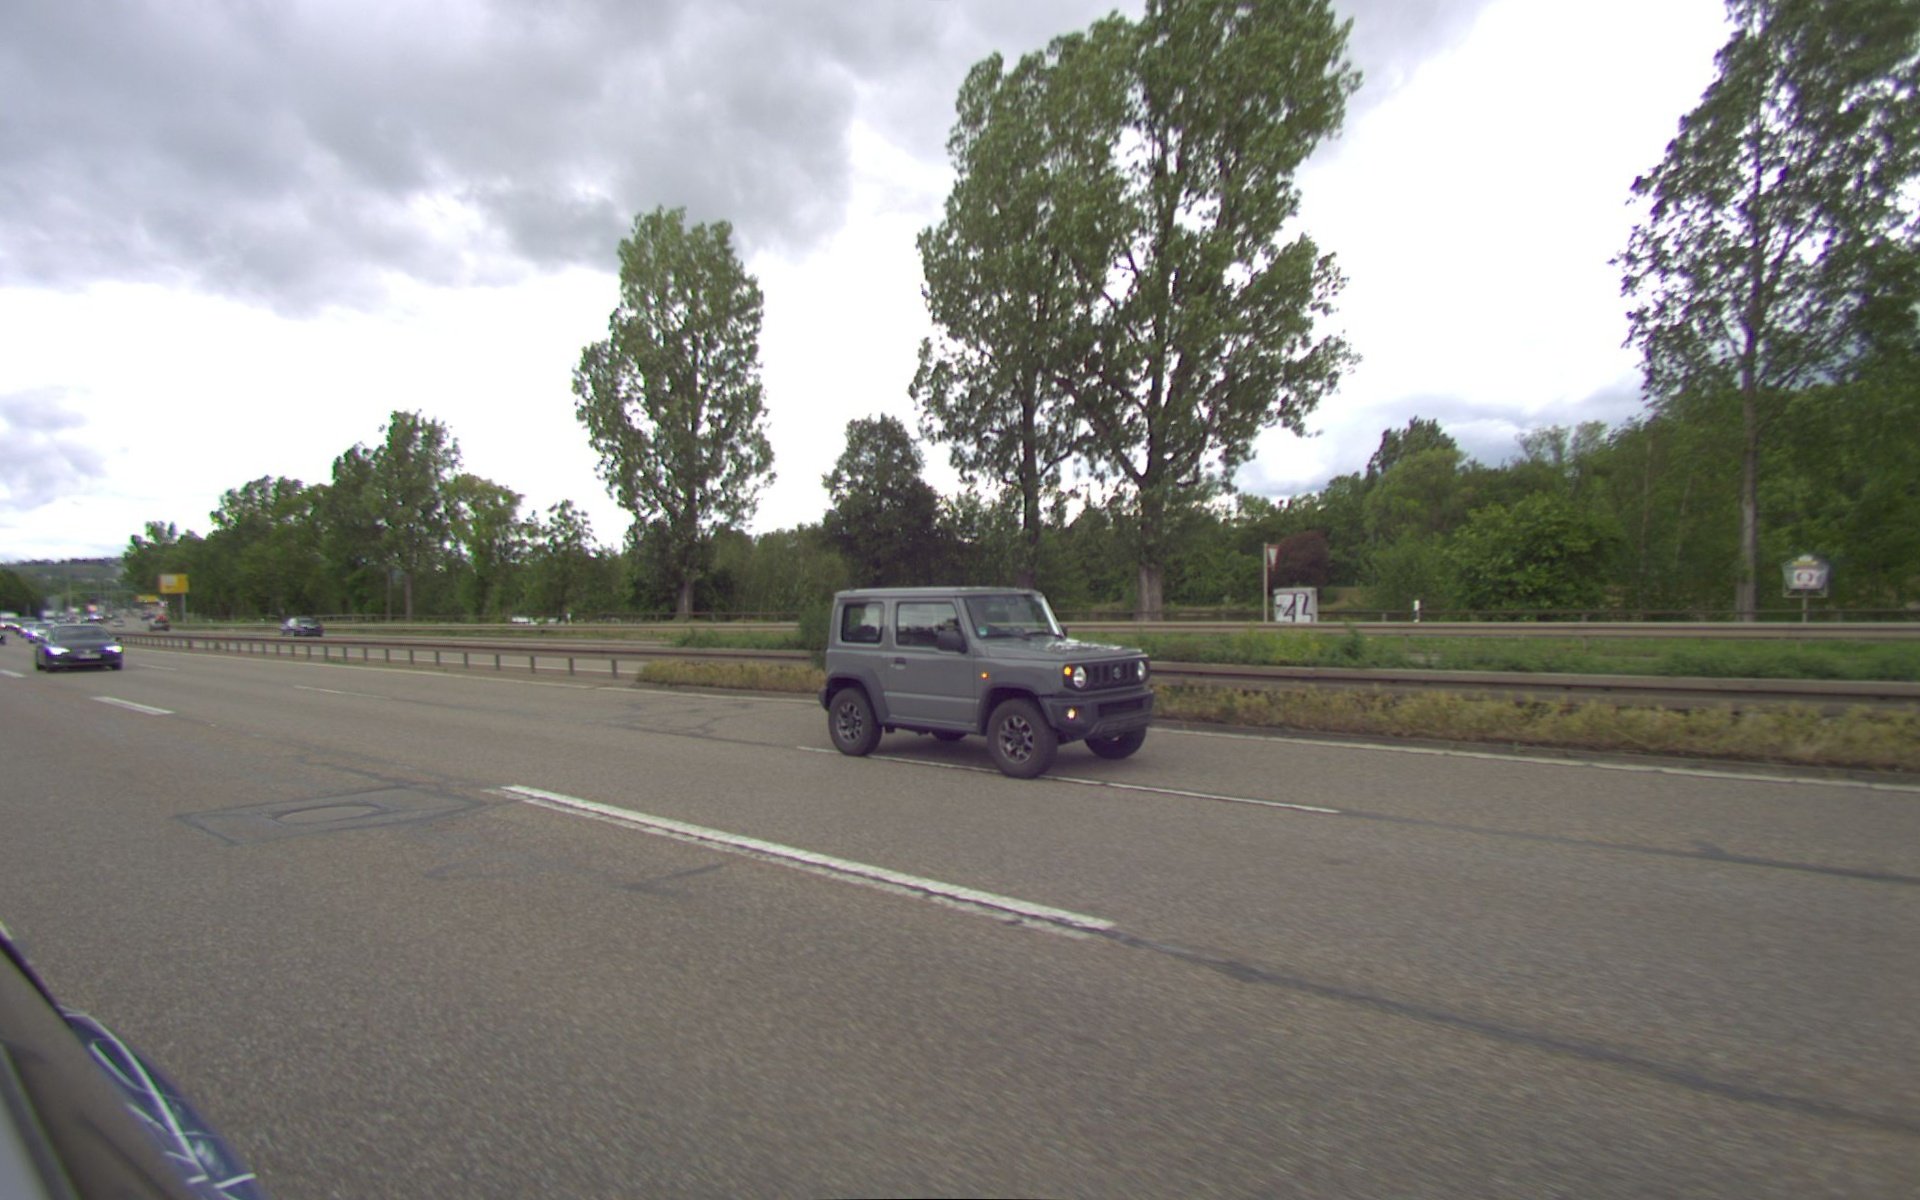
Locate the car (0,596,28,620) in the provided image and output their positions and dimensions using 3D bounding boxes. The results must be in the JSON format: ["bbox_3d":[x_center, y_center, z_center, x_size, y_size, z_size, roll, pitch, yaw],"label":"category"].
[{"bbox_3d":[-87.789,0.732,93.768,1.971,2.029,4.003,-3,1,-44],"label":"car"}]

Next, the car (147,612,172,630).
[{"bbox_3d":[-97.894,2.599,123.777,1.970,2.029,5.228,-3,1,-42],"label":"car"}]

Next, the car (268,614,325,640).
[{"bbox_3d":[-45.935,1.860,70.010,4.645,1.621,1.974,-2,1,40],"label":"car"}]

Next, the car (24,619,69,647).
[{"bbox_3d":[-63.513,2.292,70.352,3.998,1.878,1.854,-2,-1,41],"label":"car"}]

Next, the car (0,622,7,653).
[{"bbox_3d":[-64.156,2.512,66.603,1.971,2.029,4.003,-3,1,-44],"label":"car"}]

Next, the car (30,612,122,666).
[{"bbox_3d":[-27.301,1.181,31.207,1.913,1.512,4.307,0,-2,-44],"label":"car"}]

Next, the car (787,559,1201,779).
[{"bbox_3d":[0.175,0.591,10.029,3.999,1.749,1.662,-2,-1,44],"label":"car"}]
